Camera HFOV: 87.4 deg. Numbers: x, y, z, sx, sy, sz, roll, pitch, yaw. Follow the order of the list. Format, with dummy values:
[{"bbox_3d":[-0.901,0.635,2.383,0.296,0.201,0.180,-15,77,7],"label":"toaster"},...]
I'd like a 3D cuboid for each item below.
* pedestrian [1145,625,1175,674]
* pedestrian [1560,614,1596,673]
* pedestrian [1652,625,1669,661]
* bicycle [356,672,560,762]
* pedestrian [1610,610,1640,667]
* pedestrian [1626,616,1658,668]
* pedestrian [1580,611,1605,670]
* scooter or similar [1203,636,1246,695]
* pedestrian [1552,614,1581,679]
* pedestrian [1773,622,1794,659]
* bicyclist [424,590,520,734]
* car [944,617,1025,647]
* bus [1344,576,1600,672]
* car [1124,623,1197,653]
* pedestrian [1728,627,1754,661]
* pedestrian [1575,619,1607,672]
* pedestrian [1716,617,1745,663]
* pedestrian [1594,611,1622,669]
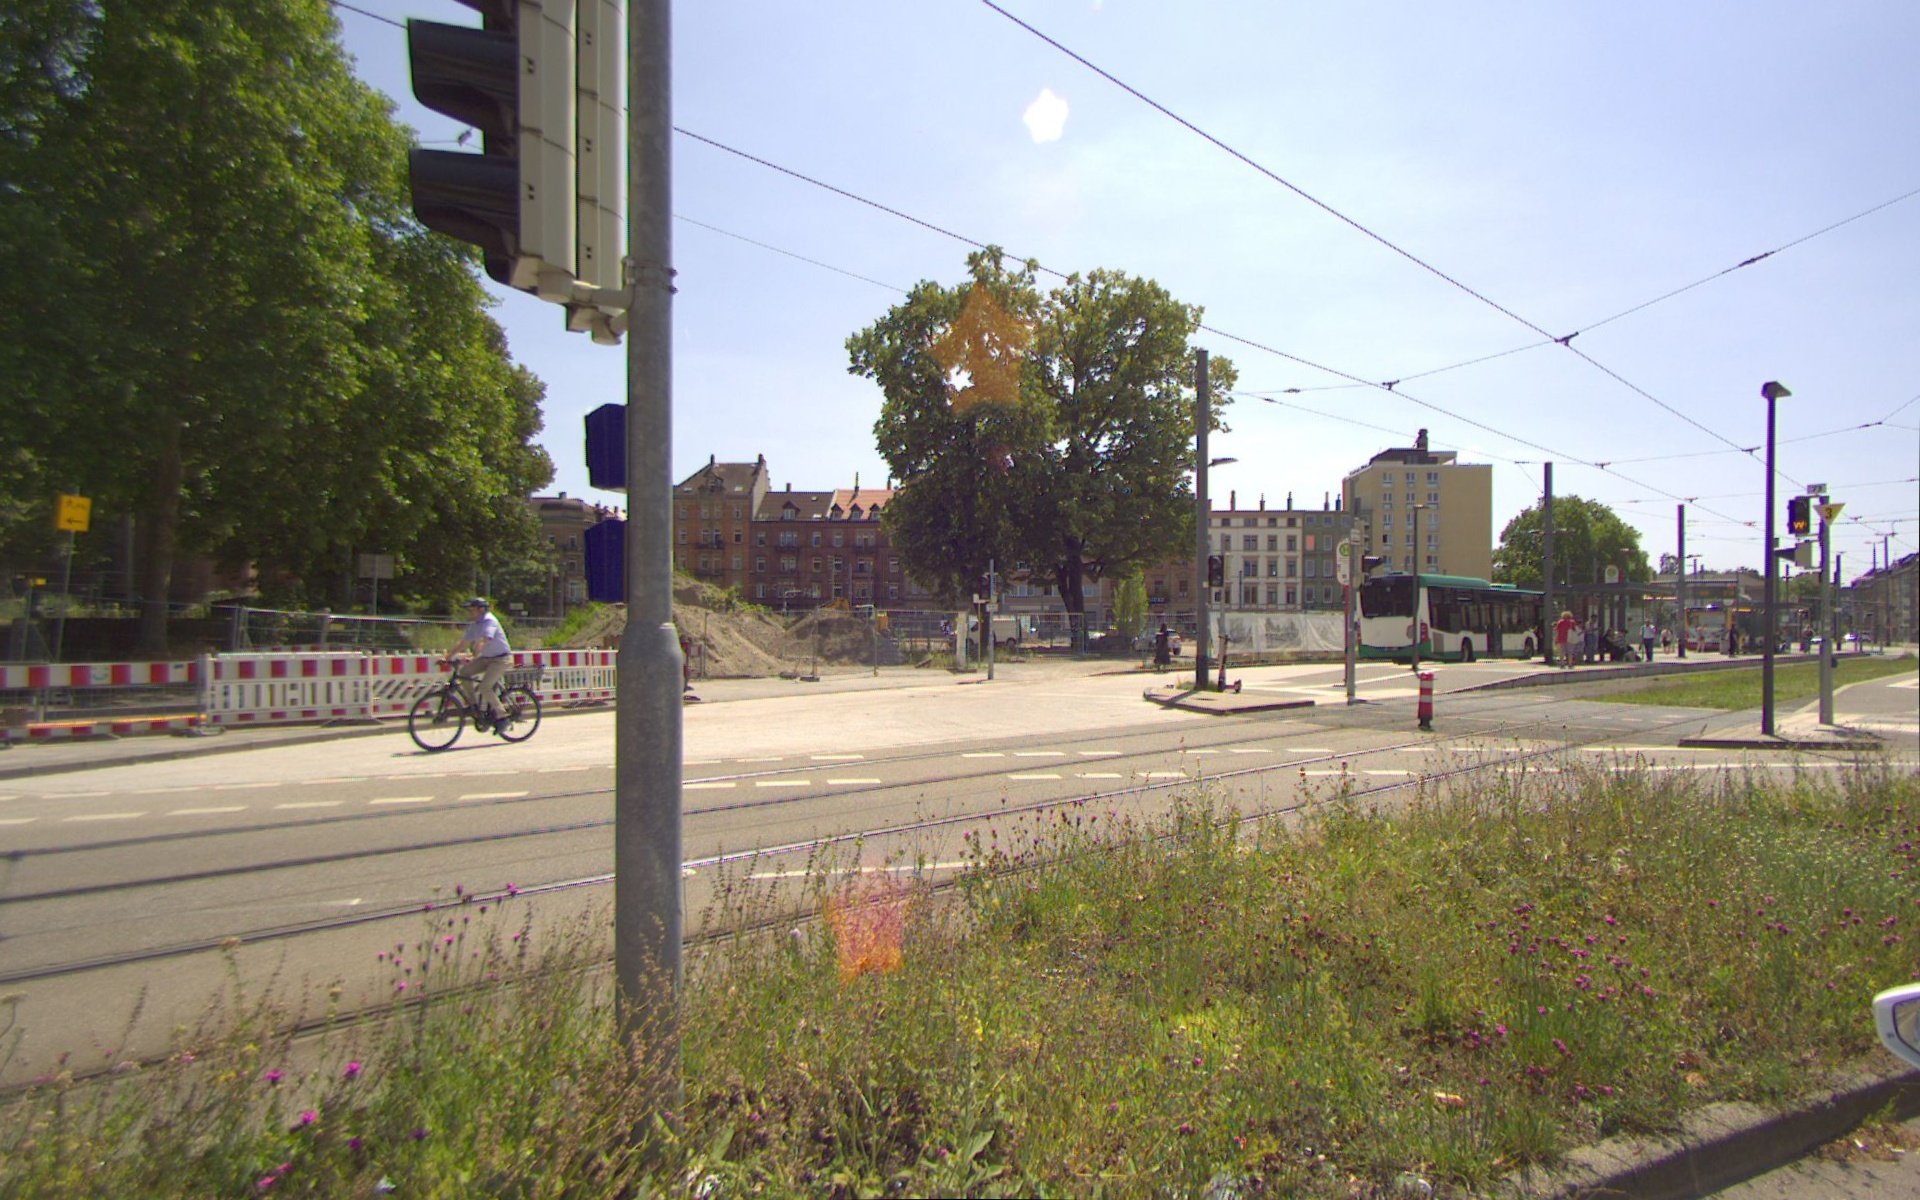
[{"bbox_3d":[6.744,1.673,33.842,0.816,1.623,0.603,1,-1,-31],"label":"pedestrian"},{"bbox_3d":[21.448,1.502,34.846,0.930,2.016,1.024,-1,-2,39],"label":"pedestrian"},{"bbox_3d":[41.743,2.552,59.876,0.693,2.139,0.656,-1,-1,25],"label":"pedestrian"},{"bbox_3d":[-6.207,1.412,12.598,0.496,0.926,2.364,-1,-2,33],"label":"bicycle"},{"bbox_3d":[25.214,1.450,38.103,0.888,2.124,0.828,-1,-2,38],"label":"pedestrian"},{"bbox_3d":[28.796,1.764,42.394,0.824,2.124,0.893,1,-2,-36],"label":"pedestrian"},{"bbox_3d":[23.389,1.496,37.134,0.690,2.124,0.642,-1,-2,38],"label":"pedestrian"},{"bbox_3d":[5.612,1.366,21.262,0.315,1.222,1.241,-1,-2,43],"label":"scooter or similar"},{"bbox_3d":[18.529,1.415,30.702,0.664,1.934,0.638,-1,-2,39],"label":"pedestrian"},{"bbox_3d":[47.614,2.331,58.073,0.895,2.124,0.821,1,-2,-42],"label":"pedestrian"},{"bbox_3d":[-6.157,0.764,12.690,0.809,1.732,0.768,-1,-1,33],"label":"bicyclist"},{"bbox_3d":[1.650,2.122,66.654,4.964,1.909,2.108,1,-2,-22],"label":"car"},{"bbox_3d":[21.191,1.001,40.416,17.361,3.199,2.984,2,-2,-41],"label":"bus"},{"bbox_3d":[11.396,2.131,57.368,1.829,1.671,4.165,1,-2,-29],"label":"car"},{"bbox_3d":[43.336,2.418,55.713,0.955,1.859,0.776,-1,-1,25],"label":"pedestrian"},{"bbox_3d":[22.539,1.628,35.886,0.901,1.876,0.655,-1,-2,39],"label":"pedestrian"},{"bbox_3d":[36.342,1.879,47.364,0.824,2.124,0.893,1,-2,-36],"label":"pedestrian"},{"bbox_3d":[24.331,1.490,37.727,0.813,2.124,0.639,-1,-2,38],"label":"pedestrian"}]
